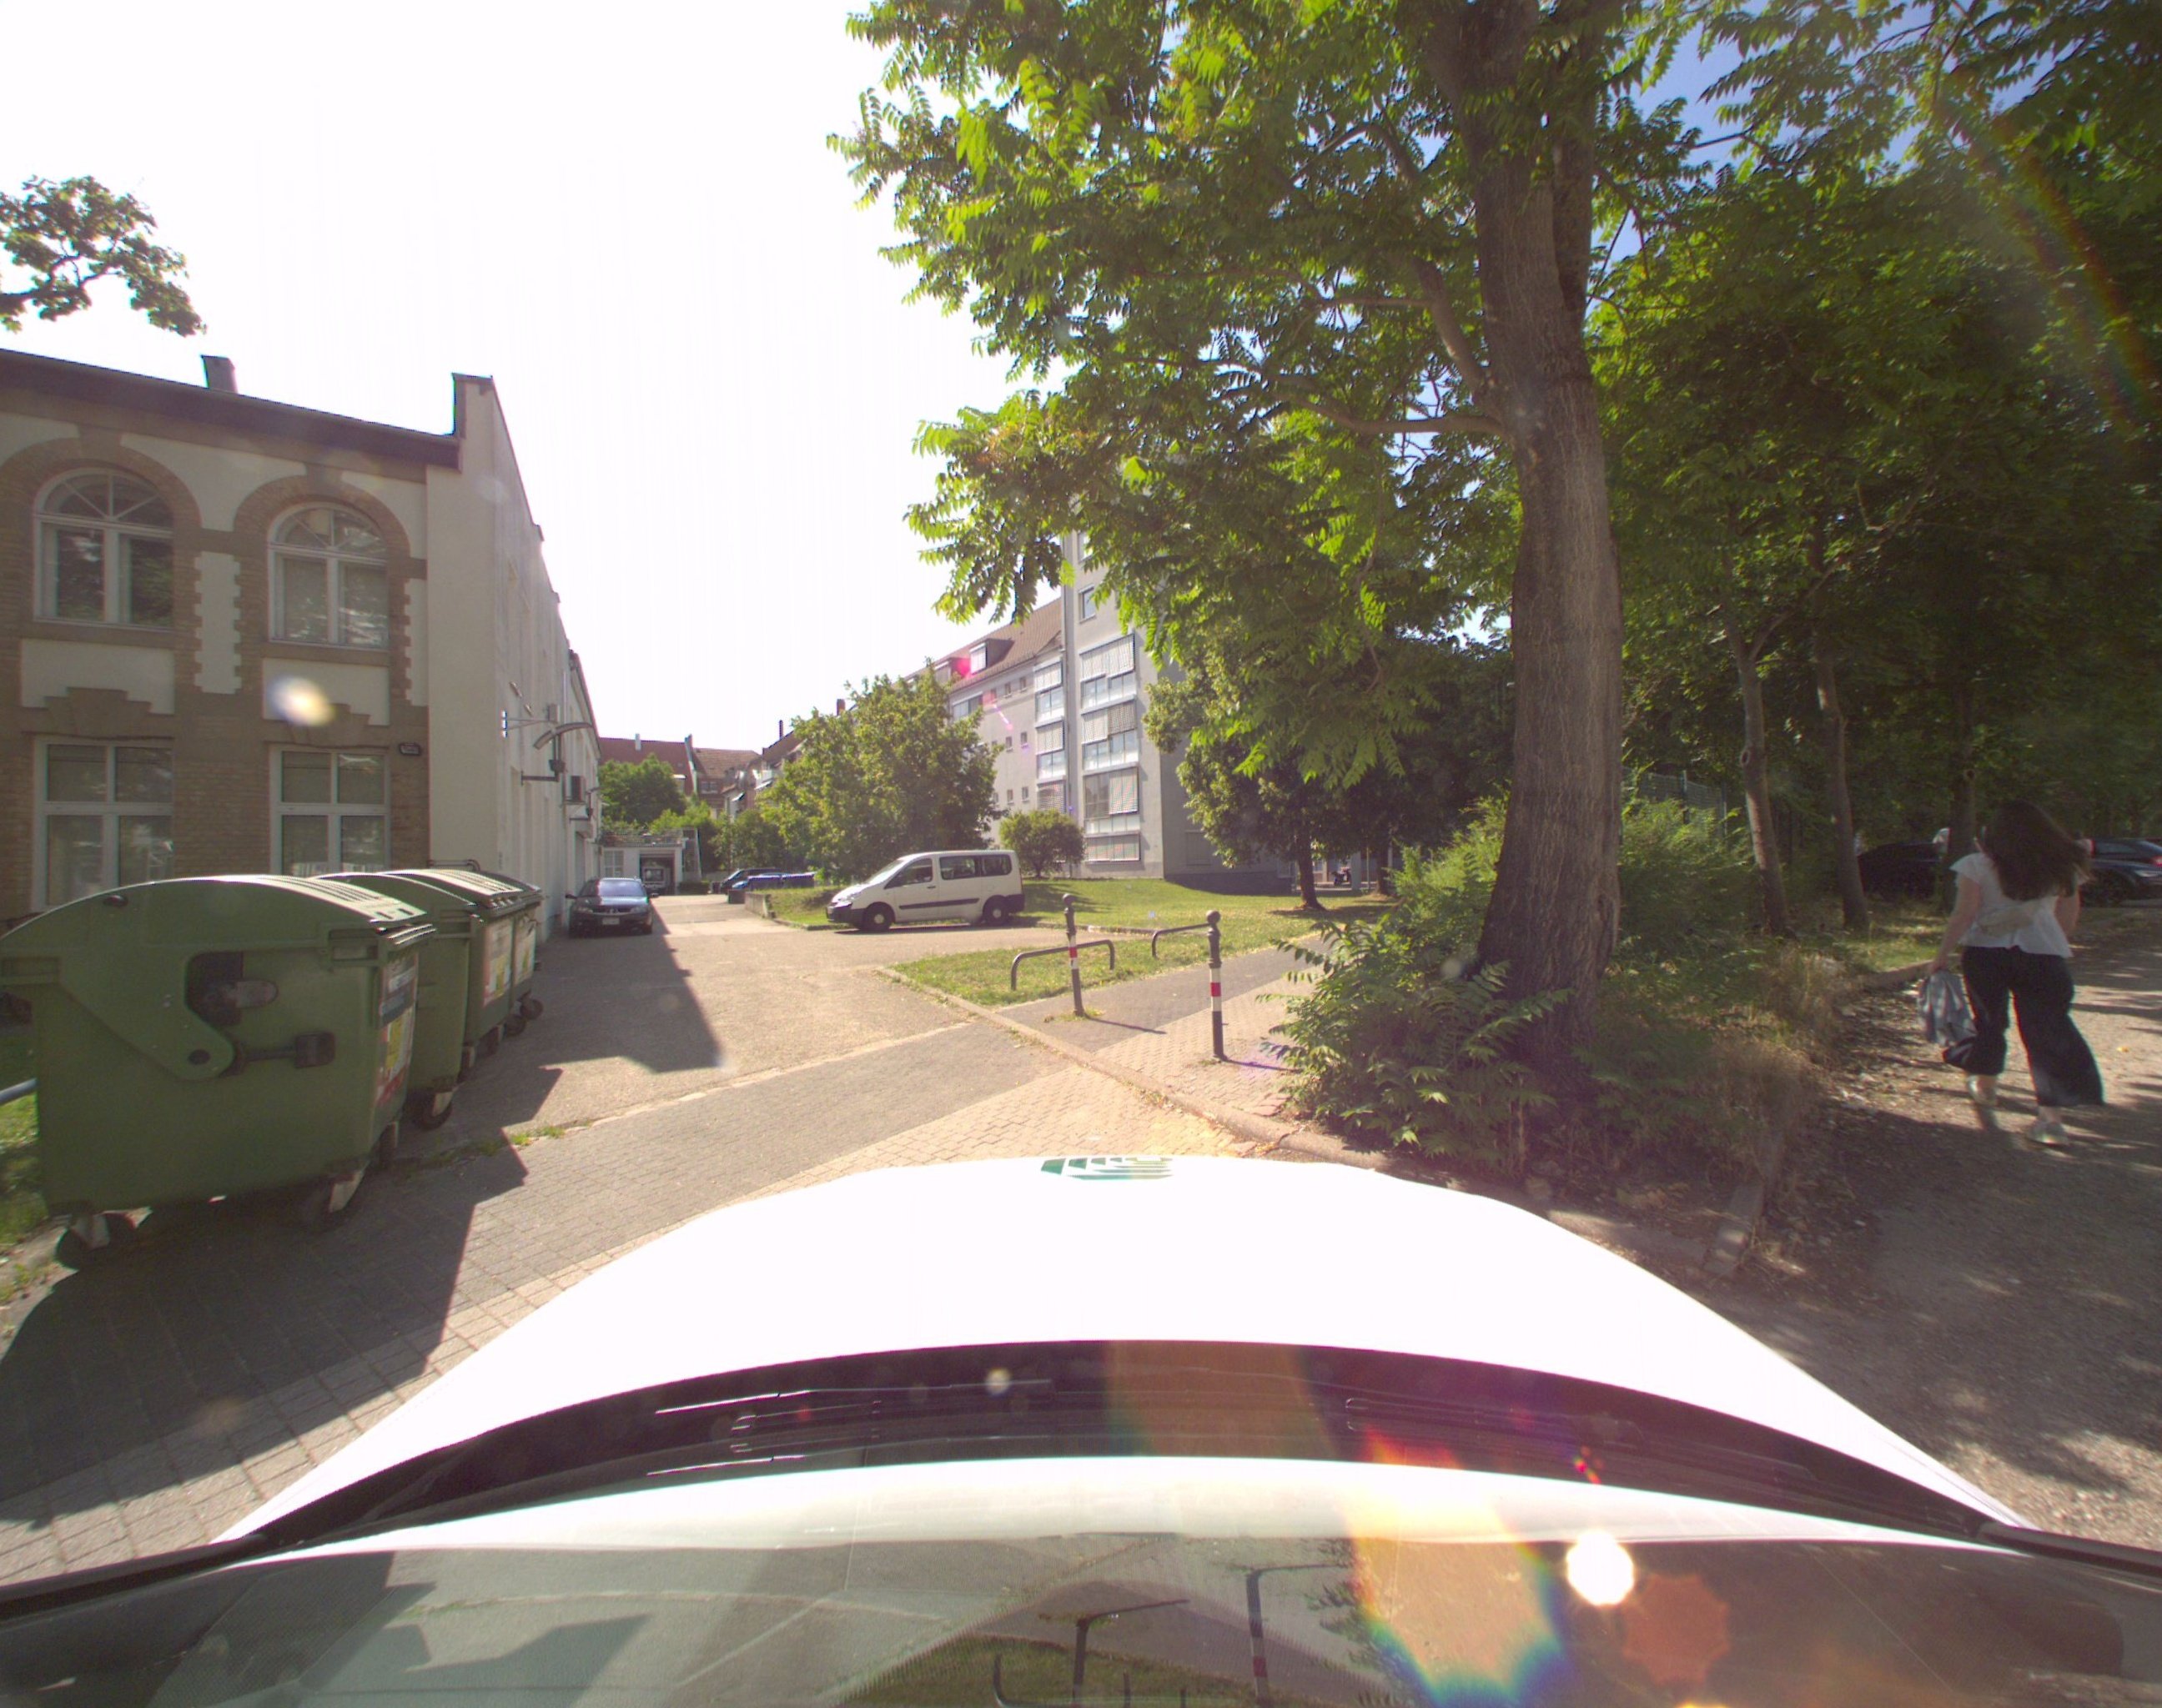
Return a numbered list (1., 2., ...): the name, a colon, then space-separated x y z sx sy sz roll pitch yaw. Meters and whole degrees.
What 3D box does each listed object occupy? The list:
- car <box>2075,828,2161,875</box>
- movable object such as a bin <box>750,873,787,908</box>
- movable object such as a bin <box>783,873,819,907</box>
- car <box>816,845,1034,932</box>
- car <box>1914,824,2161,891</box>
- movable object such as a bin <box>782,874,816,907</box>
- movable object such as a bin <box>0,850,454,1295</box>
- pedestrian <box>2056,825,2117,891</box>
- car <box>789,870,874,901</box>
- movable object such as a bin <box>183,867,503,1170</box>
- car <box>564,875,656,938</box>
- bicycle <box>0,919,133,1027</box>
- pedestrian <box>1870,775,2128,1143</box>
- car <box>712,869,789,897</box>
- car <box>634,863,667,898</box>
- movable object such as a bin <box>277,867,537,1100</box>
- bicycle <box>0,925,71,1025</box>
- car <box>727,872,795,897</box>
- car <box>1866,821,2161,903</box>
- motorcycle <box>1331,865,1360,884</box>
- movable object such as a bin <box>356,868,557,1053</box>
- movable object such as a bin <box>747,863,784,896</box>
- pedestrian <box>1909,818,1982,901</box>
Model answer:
1. car: 36.441 -0.102 26.950 1.899 1.524 4.257 -1 0 -31
2. movable object such as a bin: -12.782 1.509 33.290 1.254 1.319 1.132 -4 -1 -28
3. movable object such as a bin: -11.676 1.488 33.963 1.254 1.340 1.132 -2 -1 -27
4. car: -3.917 0.799 20.676 5.053 1.933 1.982 -1 -1 -28
5. car: 25.637 0.099 21.695 2.010 1.584 4.618 -2 0 -38
6. movable object such as a bin: -12.369 1.593 35.729 1.163 1.336 1.130 -2 -1 -32
7. movable object such as a bin: -3.614 0.752 3.593 1.253 1.481 1.324 -1 -1 -35
8. pedestrian: 24.938 0.091 20.199 0.790 1.595 0.917 -2 0 -38
9. car: -13.394 1.662 43.783 4.014 1.427 1.793 -2 -1 -32
10. movable object such as a bin: -4.265 0.821 4.825 1.255 1.431 1.209 -1 -1 -40
11. car: -12.075 1.331 20.963 1.848 1.442 4.387 1 -3 -30
12. bicycle: -11.452 1.286 9.121 0.447 0.992 1.671 -2 0 -26
13. pedestrian: 4.607 0.465 4.164 0.728 1.640 0.786 -2 0 40
14. car: -24.892 2.154 61.434 4.995 1.767 2.071 -2 0 -42
15. car: -35.176 2.163 66.517 2.187 2.607 6.671 -2 -1 -29
16. movable object such as a bin: -4.872 0.840 6.061 1.252 1.431 1.353 -1 -1 -30
17. bicycle: -11.878 1.337 8.852 0.447 0.992 1.652 -2 0 -26
18. car: -23.077 2.174 58.756 4.259 1.532 1.979 -2 0 -33
19. car: 20.875 0.173 18.137 2.010 1.584 4.618 -2 0 -38
20. motorcycle: 18.105 1.386 55.753 2.068 1.246 0.624 -1 -1 -28
21. movable object such as a bin: -5.559 0.869 7.392 1.252 1.431 1.337 -1 -1 -30
22. movable object such as a bin: -13.563 1.103 34.958 1.256 1.355 1.117 -2 -1 -32
23. pedestrian: 19.113 0.120 18.005 0.824 1.781 1.005 -1 -1 -38
